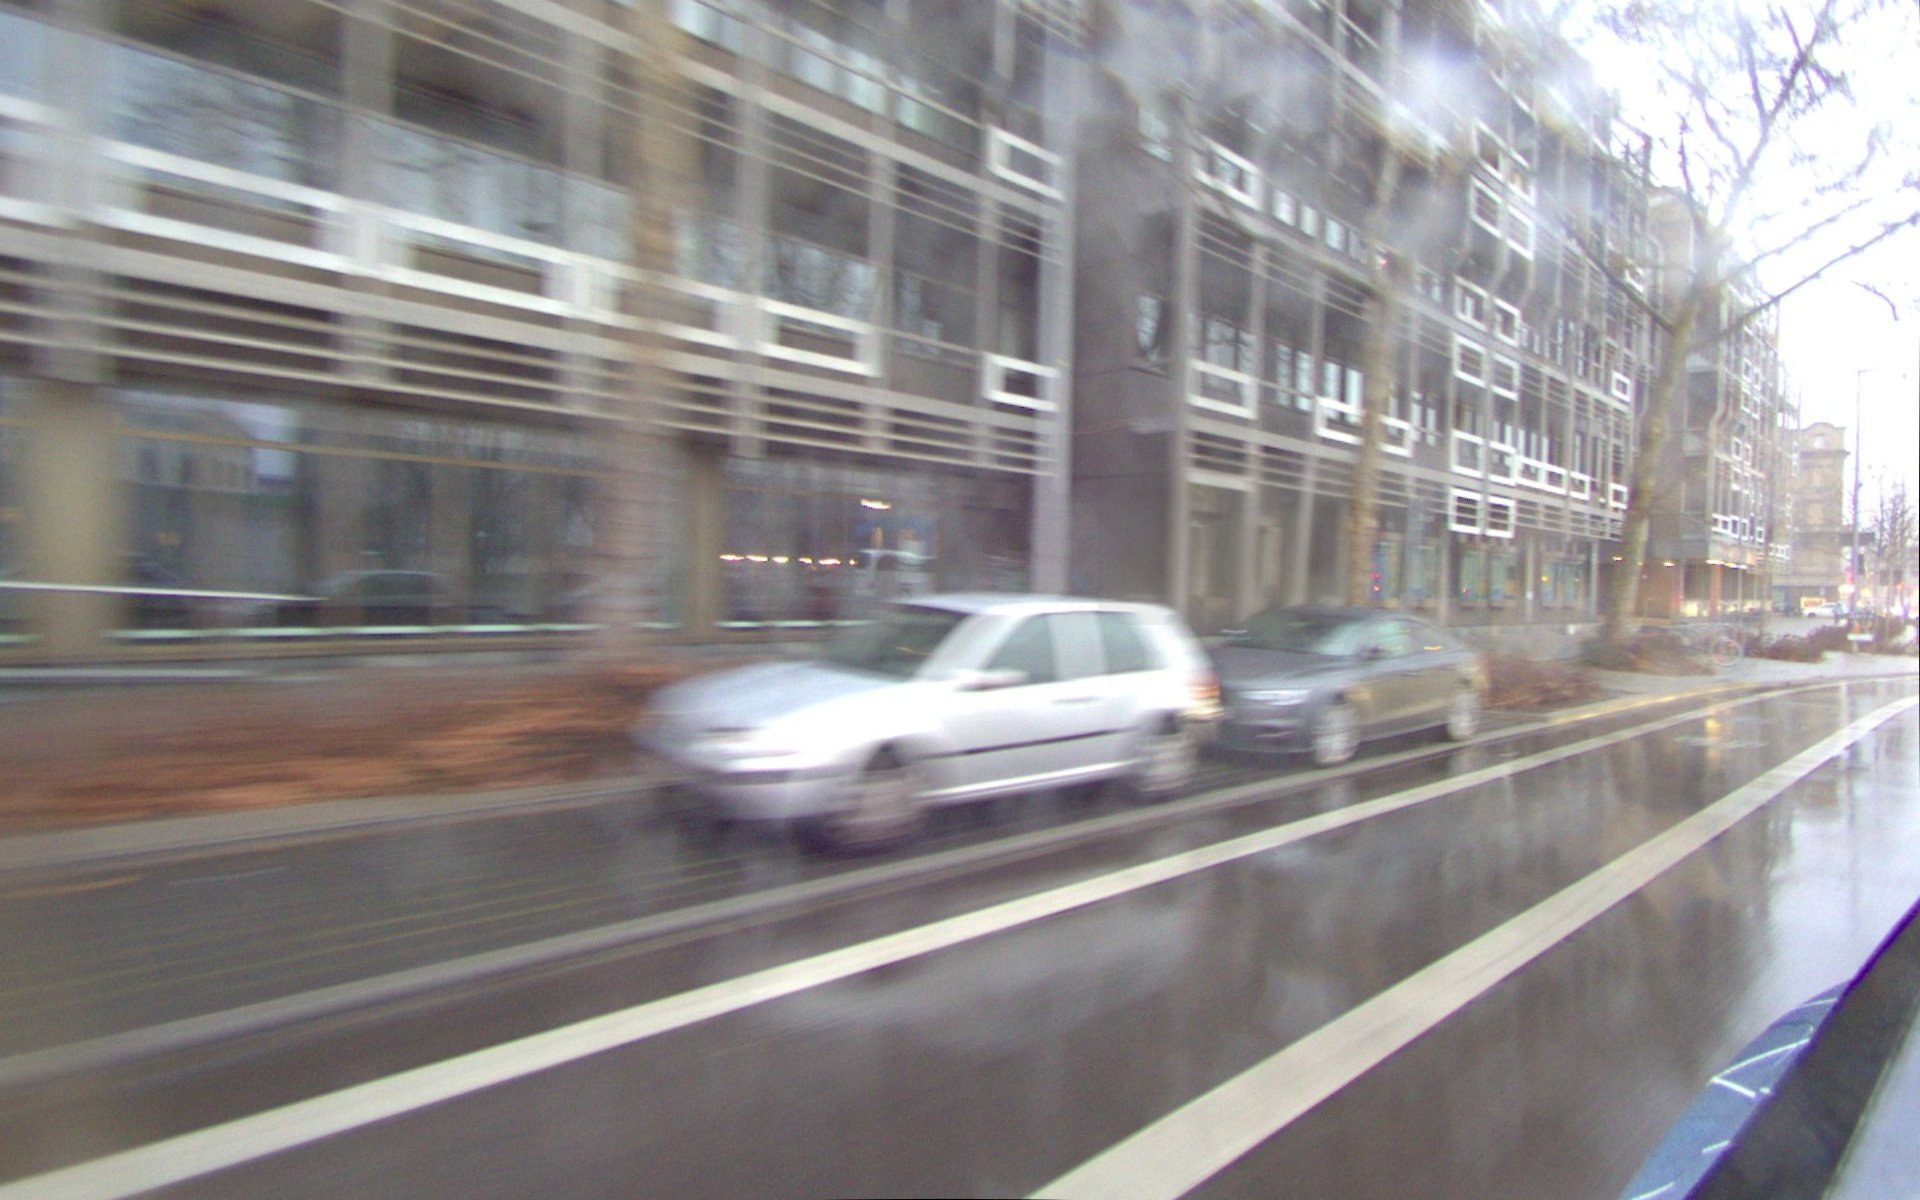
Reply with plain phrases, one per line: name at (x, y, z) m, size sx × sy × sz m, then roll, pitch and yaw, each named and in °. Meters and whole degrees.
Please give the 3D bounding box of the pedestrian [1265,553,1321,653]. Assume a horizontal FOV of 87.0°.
pedestrian at (6.956, 0.048, 21.172) m, size 0.723 × 2.039 × 0.821 m, roll 1°, pitch 1°, yaw -42°

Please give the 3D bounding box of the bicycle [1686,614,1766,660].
bicycle at (18.640, 0.889, 24.633) m, size 1.518 × 1.049 × 0.462 m, roll 0°, pitch 0°, yaw 43°

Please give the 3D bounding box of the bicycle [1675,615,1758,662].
bicycle at (17.760, 0.881, 23.782) m, size 1.518 × 1.049 × 0.462 m, roll 0°, pitch 0°, yaw 43°

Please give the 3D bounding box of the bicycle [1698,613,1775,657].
bicycle at (19.648, 0.874, 25.637) m, size 1.518 × 1.049 × 0.462 m, roll 0°, pitch 0°, yaw 43°

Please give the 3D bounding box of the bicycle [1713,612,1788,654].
bicycle at (20.849, 0.858, 26.706) m, size 1.518 × 1.049 × 0.462 m, roll 0°, pitch 0°, yaw 43°

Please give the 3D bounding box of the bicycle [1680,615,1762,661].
bicycle at (18.216, 0.895, 24.244) m, size 1.518 × 1.049 × 0.462 m, roll 0°, pitch 0°, yaw 43°

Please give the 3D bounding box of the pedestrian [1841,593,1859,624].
pedestrian at (60.266, 0.580, 68.547) m, size 0.758 × 2.039 × 0.837 m, roll 0°, pitch 0°, yaw -41°

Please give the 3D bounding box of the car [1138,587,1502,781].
car at (3.784, 0.690, 10.328) m, size 3.948 × 1.567 × 1.763 m, roll 0°, pitch 1°, yaw -41°

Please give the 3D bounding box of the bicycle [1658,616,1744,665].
bicycle at (16.641, 0.897, 22.733) m, size 1.518 × 1.049 × 0.462 m, roll 0°, pitch 0°, yaw 43°

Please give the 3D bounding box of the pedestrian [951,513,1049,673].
pedestrian at (0.536, -0.097, 13.466) m, size 1.006 × 2.039 × 0.790 m, roll 1°, pitch 1°, yaw -41°

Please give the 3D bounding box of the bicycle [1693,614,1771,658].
bicycle at (19.152, 0.882, 25.127) m, size 1.518 × 1.049 × 0.462 m, roll 0°, pitch 0°, yaw 43°

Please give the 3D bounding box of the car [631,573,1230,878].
car at (-0.044, 0.613, 6.909) m, size 3.858 × 1.449 × 1.609 m, roll 0°, pitch 4°, yaw -39°
